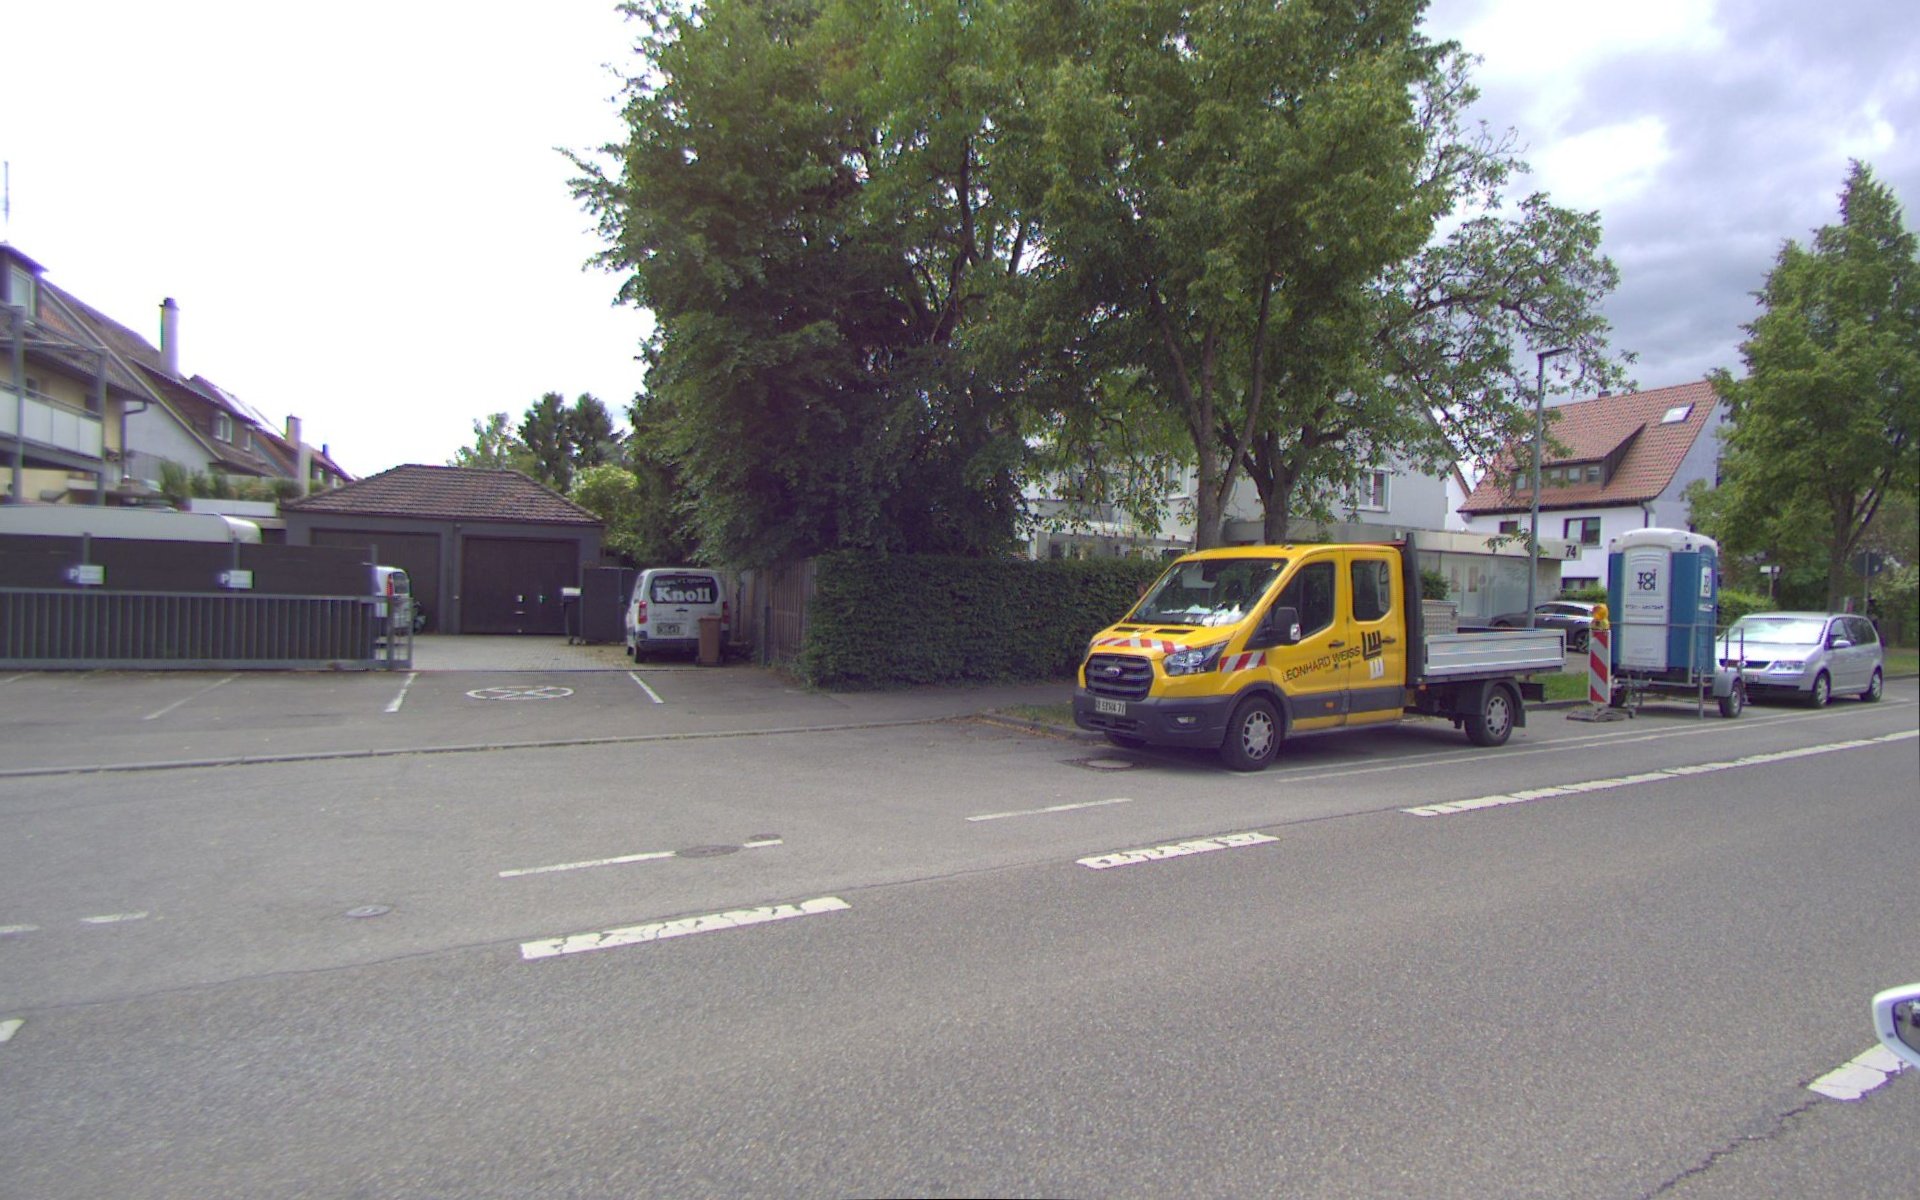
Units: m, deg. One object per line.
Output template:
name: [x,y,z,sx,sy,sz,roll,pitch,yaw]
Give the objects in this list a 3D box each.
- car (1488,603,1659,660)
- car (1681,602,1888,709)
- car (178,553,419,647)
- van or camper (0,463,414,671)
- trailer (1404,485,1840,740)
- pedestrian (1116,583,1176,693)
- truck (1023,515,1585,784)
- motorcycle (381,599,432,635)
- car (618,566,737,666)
car: [18.268,0.883,30.135,1.776,1.452,4.067,0,2,-25]
car: [14.915,0.949,18.112,4.180,1.706,1.679,2,0,-33]
car: [-15.279,0.032,23.487,4.257,2.040,1.993,1,0,-16]
van or camper: [-12.226,-0.435,15.999,5.850,2.922,2.591,1,0,-22]
trailer: [9.750,0.191,14.572,6.925,3.002,2.362,1,0,-29]
pedestrian: [3.058,0.611,16.539,0.713,1.765,0.638,1,1,-29]
truck: [4.002,0.467,11.227,6.384,2.317,2.285,1,0,-29]
motorcycle: [-15.186,0.462,27.582,1.130,0.979,0.633,1,0,-21]
car: [-5.835,0.297,20.443,1.893,1.818,3.979,1,0,-22]
